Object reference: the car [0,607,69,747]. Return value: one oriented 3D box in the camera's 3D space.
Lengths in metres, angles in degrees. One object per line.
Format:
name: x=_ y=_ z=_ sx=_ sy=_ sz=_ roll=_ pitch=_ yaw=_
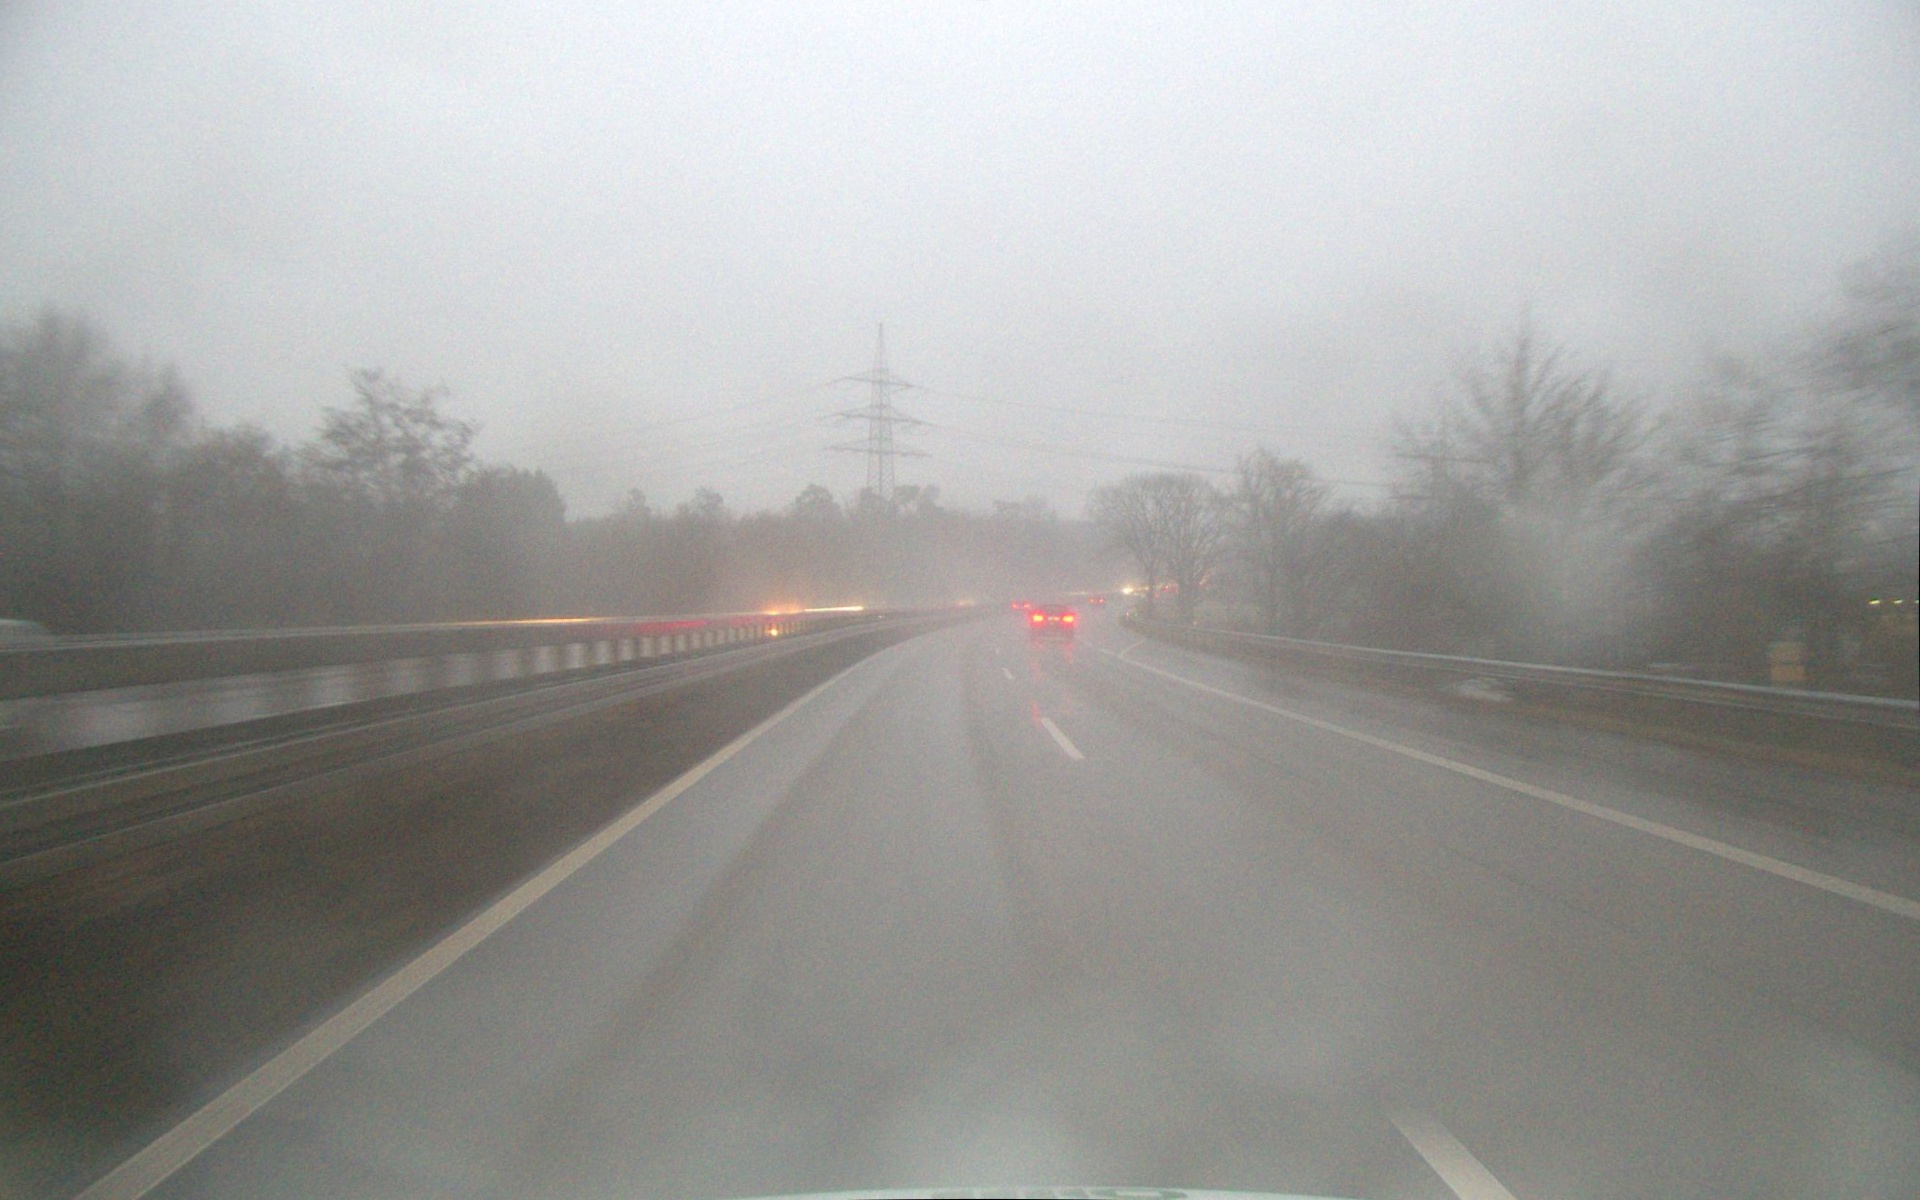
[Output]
car: x=-11.165 y=0.798 z=17.078 sx=1.682 sy=1.448 sz=3.999 roll=5 pitch=0 yaw=-1
